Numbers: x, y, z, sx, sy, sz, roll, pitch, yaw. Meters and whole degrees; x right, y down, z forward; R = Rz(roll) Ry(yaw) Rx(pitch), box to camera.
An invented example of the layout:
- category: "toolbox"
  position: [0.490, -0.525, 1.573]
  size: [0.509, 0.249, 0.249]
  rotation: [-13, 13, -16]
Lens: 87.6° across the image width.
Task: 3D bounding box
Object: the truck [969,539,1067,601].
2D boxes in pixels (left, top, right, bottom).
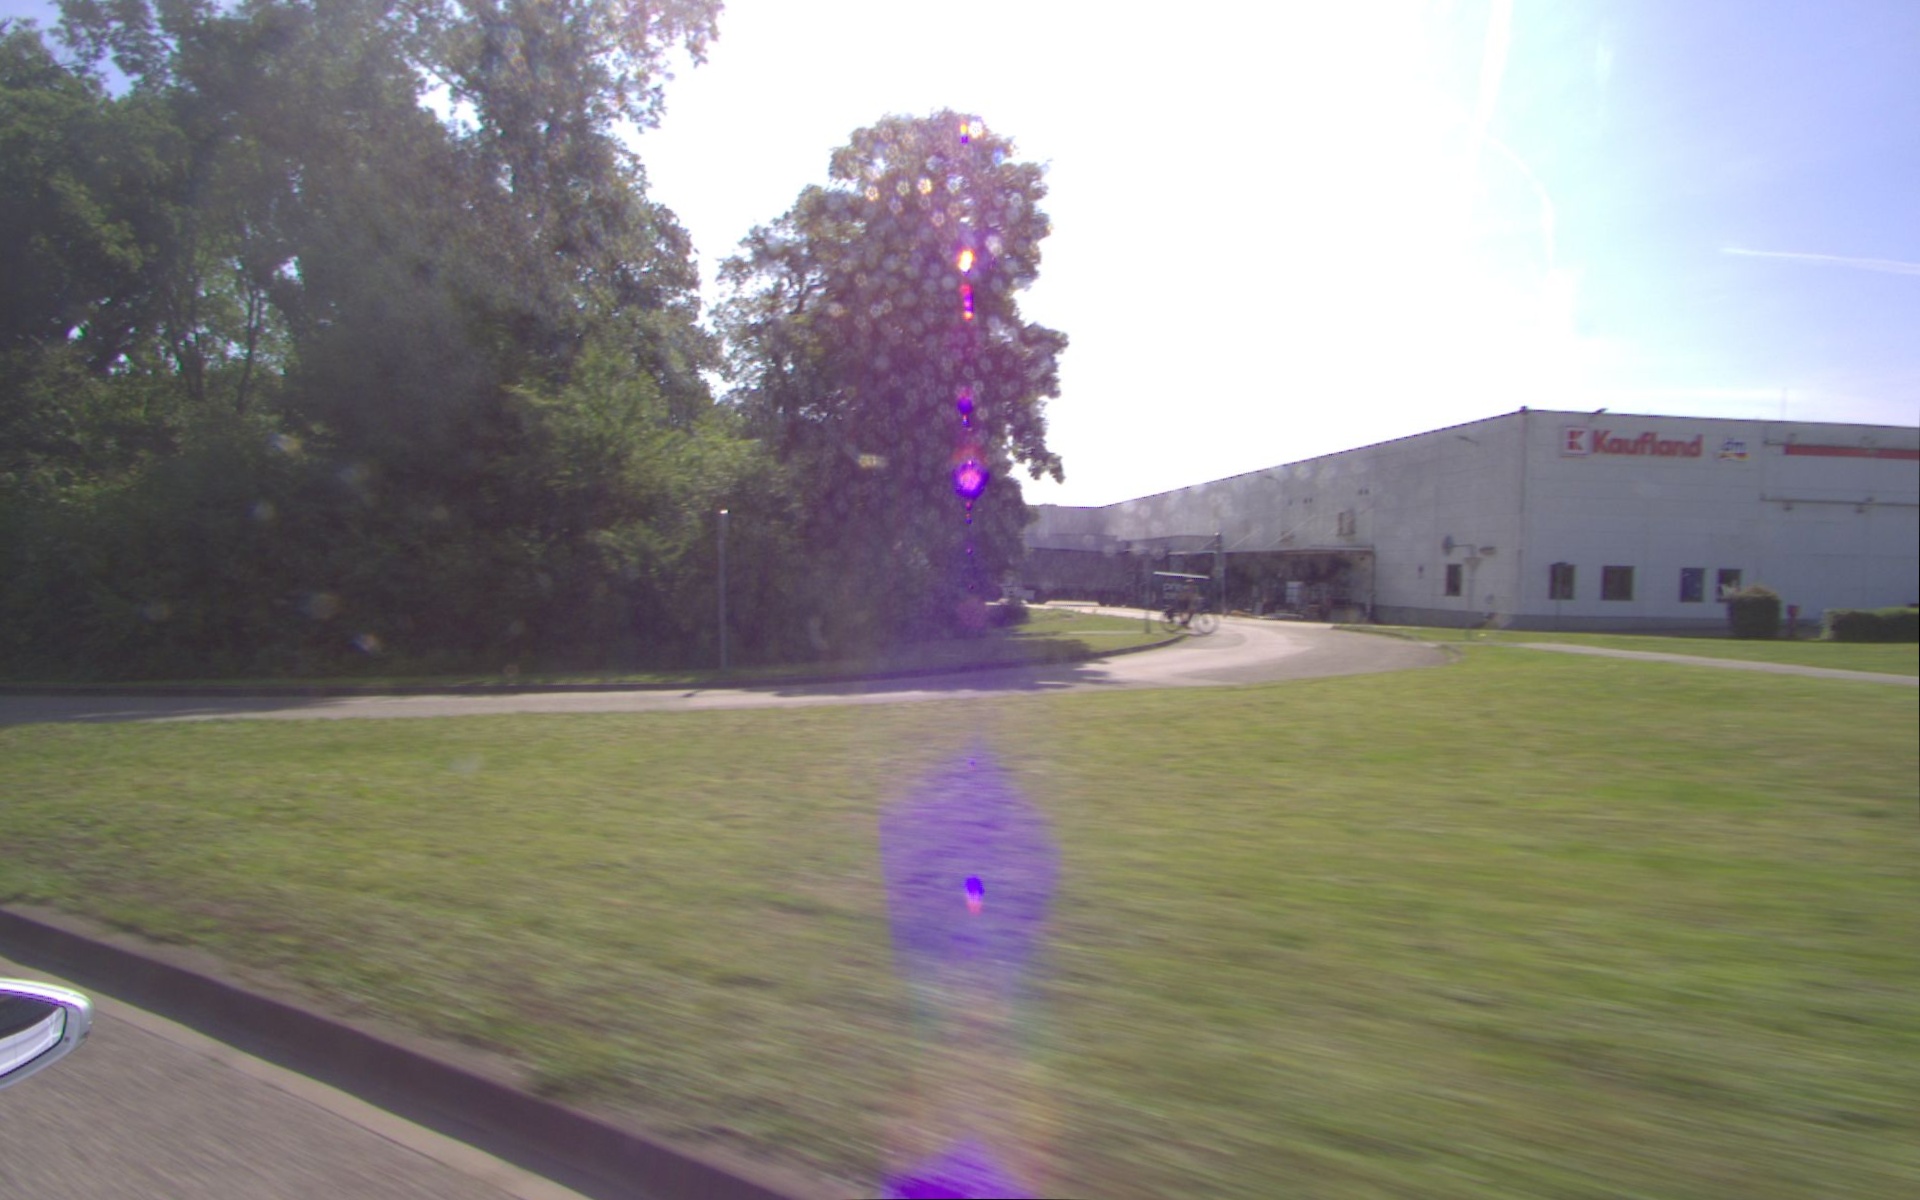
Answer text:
- category: "truck"
  position: [4.245, -2.218, 74.611]
  size: [6.445, 4.478, 3.750]
  rotation: [0, 3, -12]

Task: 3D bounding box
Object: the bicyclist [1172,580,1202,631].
- category: "bicyclist"
  position: [7.114, 0.164, 31.386]
  size: [0.831, 1.555, 0.675]
  rotation: [2, 3, 19]

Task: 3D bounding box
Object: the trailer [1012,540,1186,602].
- category: "trailer"
  position: [10.461, -2.186, 75.849]
  size: [12.478, 4.478, 3.750]
  rotation: [0, 3, -11]

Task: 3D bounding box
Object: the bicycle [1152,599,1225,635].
- category: "bicycle"
  position: [7.152, 0.524, 31.382]
  size: [2.148, 0.991, 0.724]
  rotation: [2, 3, 20]
